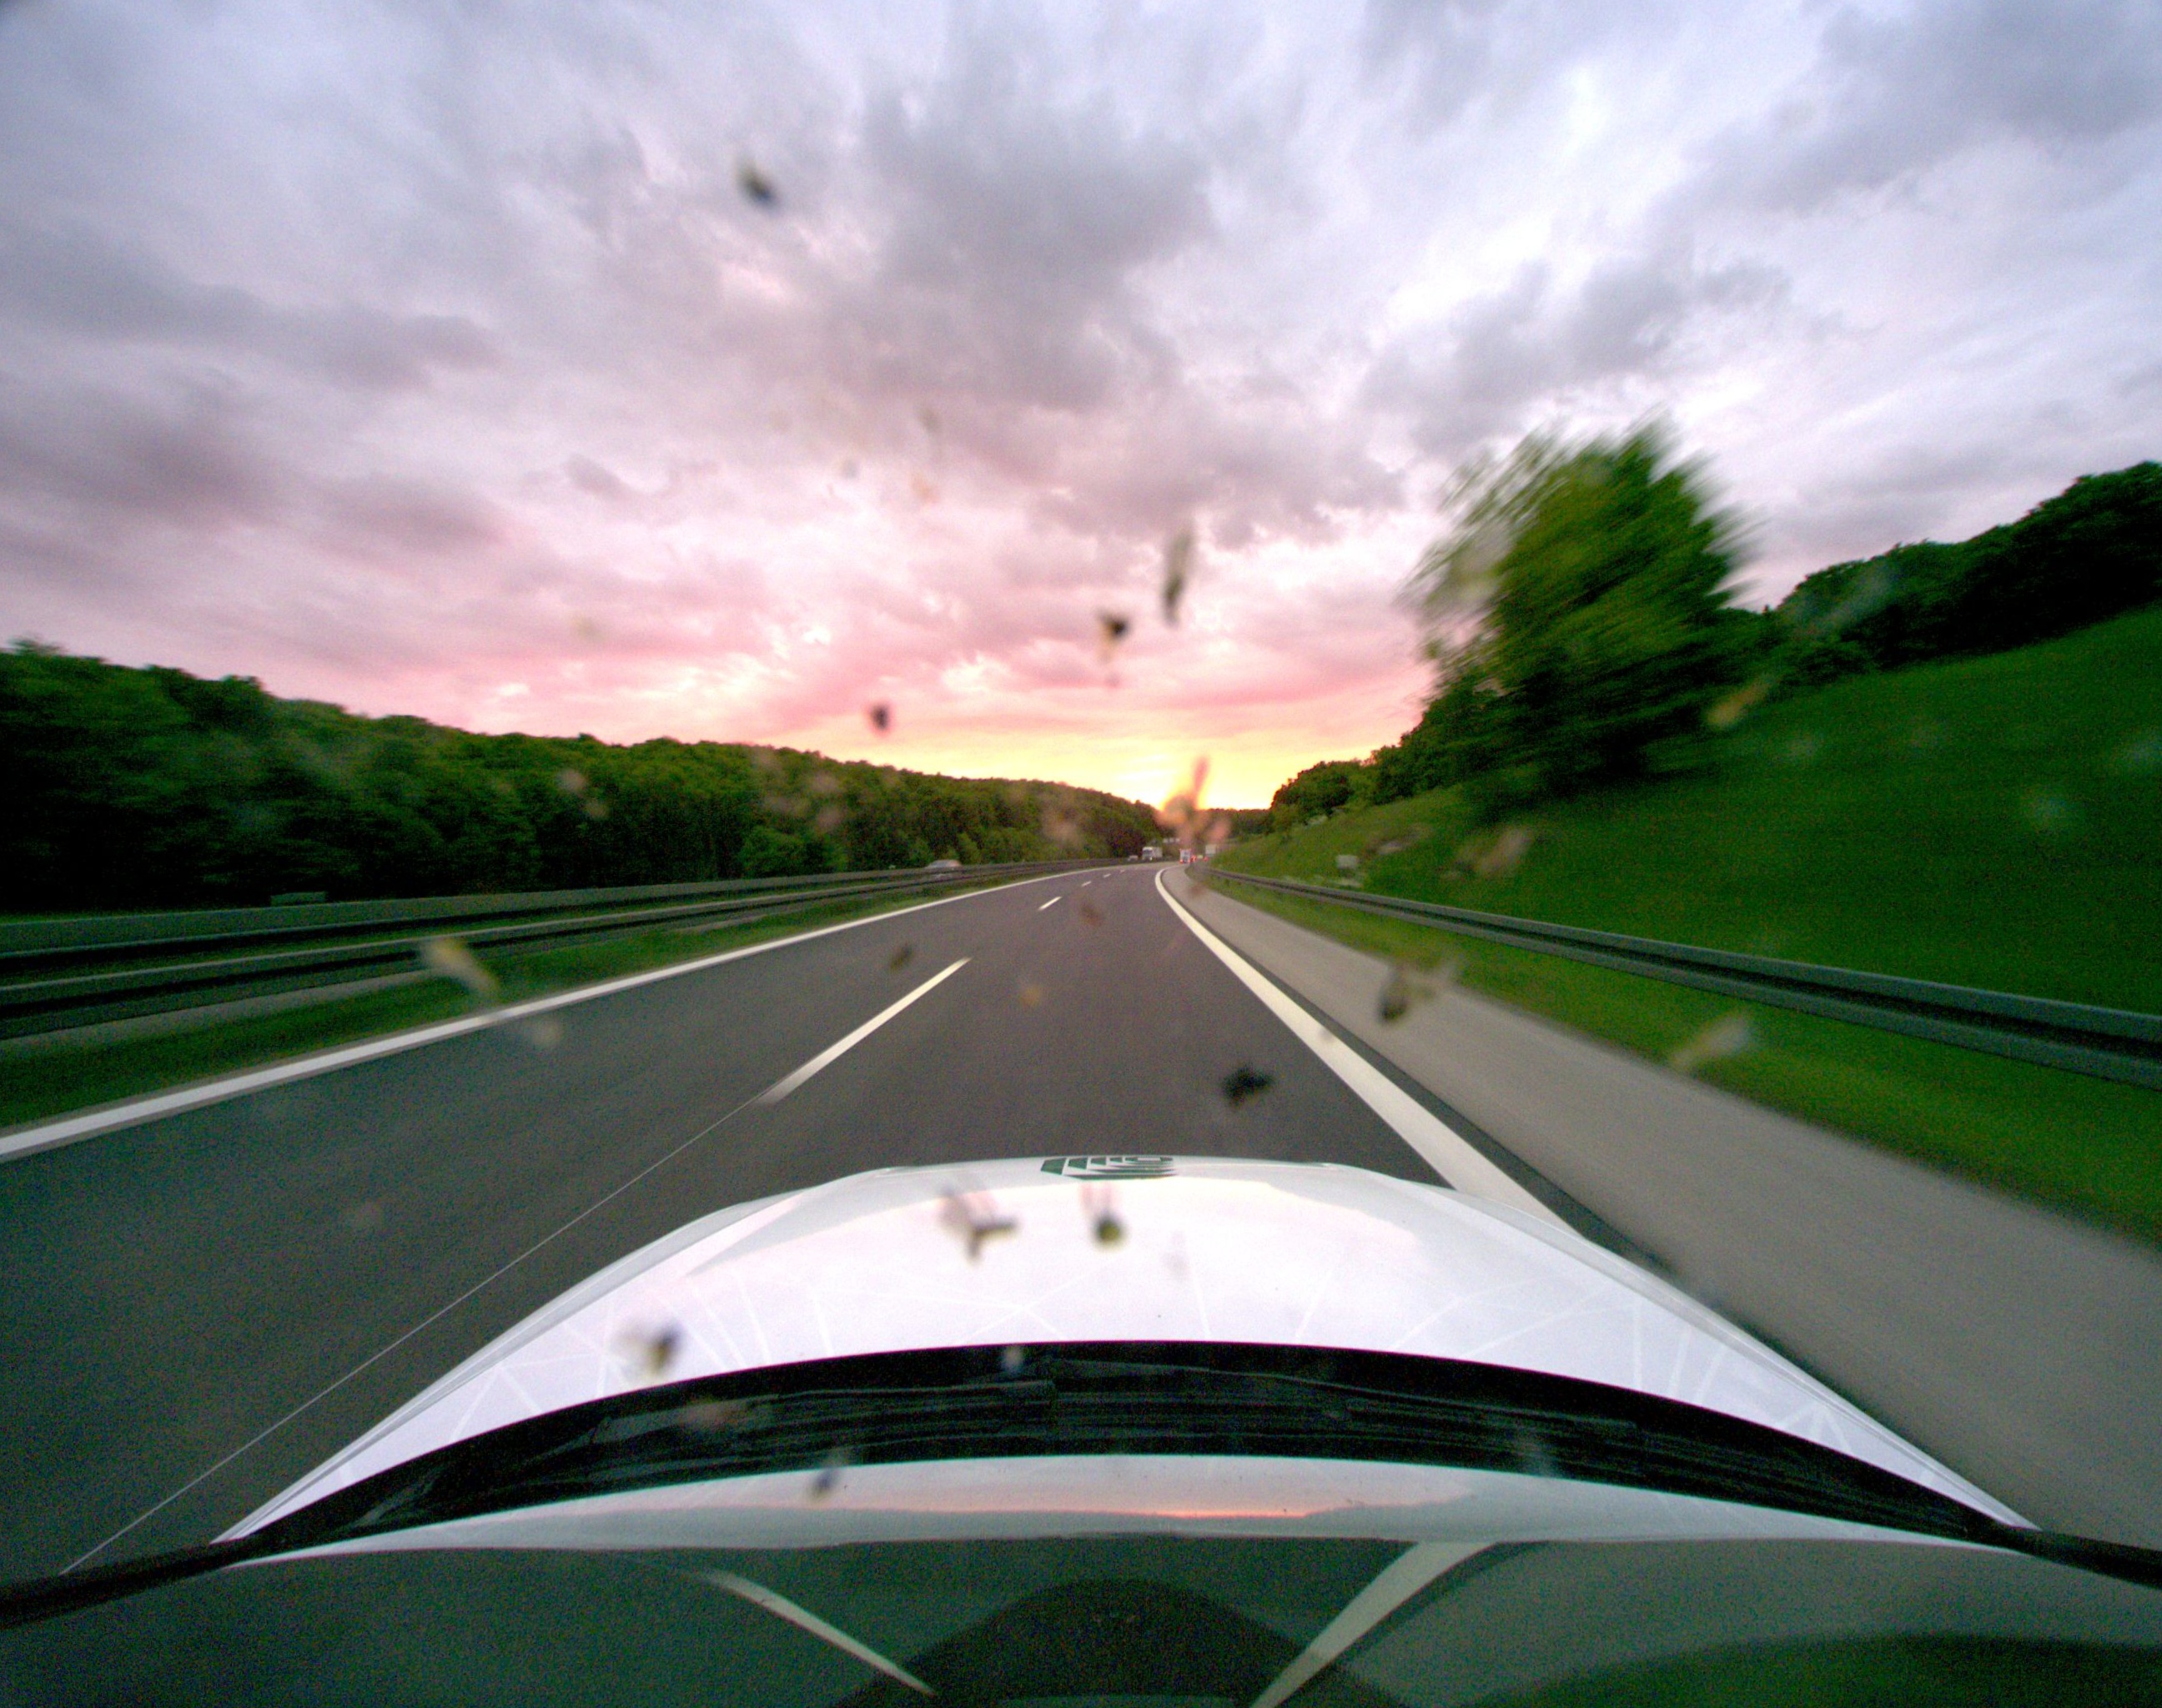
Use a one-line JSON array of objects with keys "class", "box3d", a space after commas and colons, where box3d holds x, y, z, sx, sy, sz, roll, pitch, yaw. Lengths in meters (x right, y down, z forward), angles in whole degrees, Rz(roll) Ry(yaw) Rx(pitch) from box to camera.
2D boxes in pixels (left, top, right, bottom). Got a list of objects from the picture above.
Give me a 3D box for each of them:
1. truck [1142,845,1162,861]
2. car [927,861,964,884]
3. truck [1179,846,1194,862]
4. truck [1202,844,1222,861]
[{"class": "truck", "box3d": [19.124, -0.335, 218.379, 2.841, 4.281, 10.113, -1, 0, 18]}, {"class": "car", "box3d": [-10.671, 1.456, 64.531, 1.745, 1.640, 4.483, -2, 0, 4]}, {"class": "truck", "box3d": [20.281, -0.060, 156.554, 2.261, 2.664, 5.253, -3, 1, 11]}, {"class": "truck", "box3d": [34.370, -0.438, 213.771, 3.930, 4.287, 14.377, -2, 0, 14]}]
